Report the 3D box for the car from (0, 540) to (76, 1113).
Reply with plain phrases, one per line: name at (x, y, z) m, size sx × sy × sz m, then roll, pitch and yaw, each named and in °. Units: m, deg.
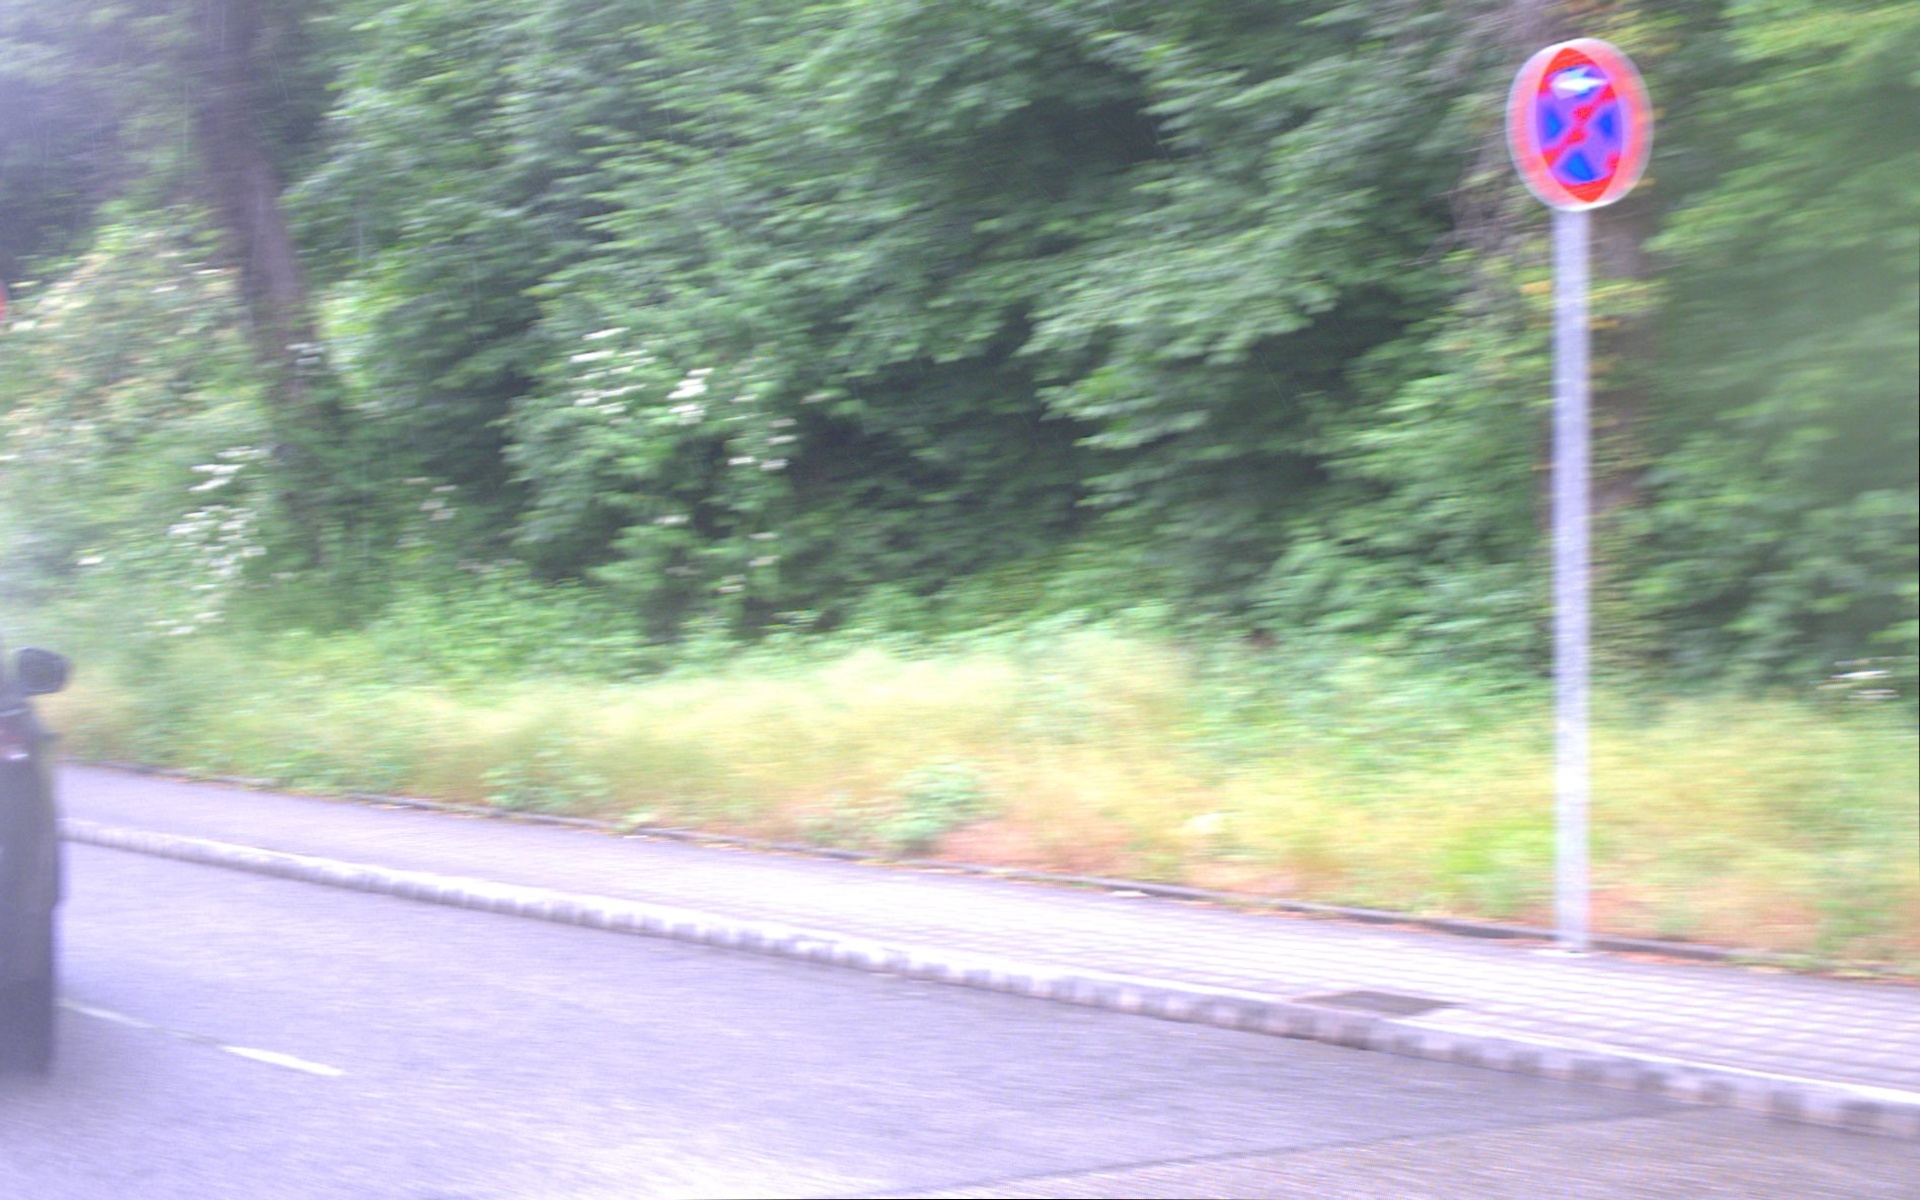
car at (-4.027, 0.578, 11.060) m, size 1.844 × 1.577 × 4.001 m, roll 1°, pitch 1°, yaw -21°
